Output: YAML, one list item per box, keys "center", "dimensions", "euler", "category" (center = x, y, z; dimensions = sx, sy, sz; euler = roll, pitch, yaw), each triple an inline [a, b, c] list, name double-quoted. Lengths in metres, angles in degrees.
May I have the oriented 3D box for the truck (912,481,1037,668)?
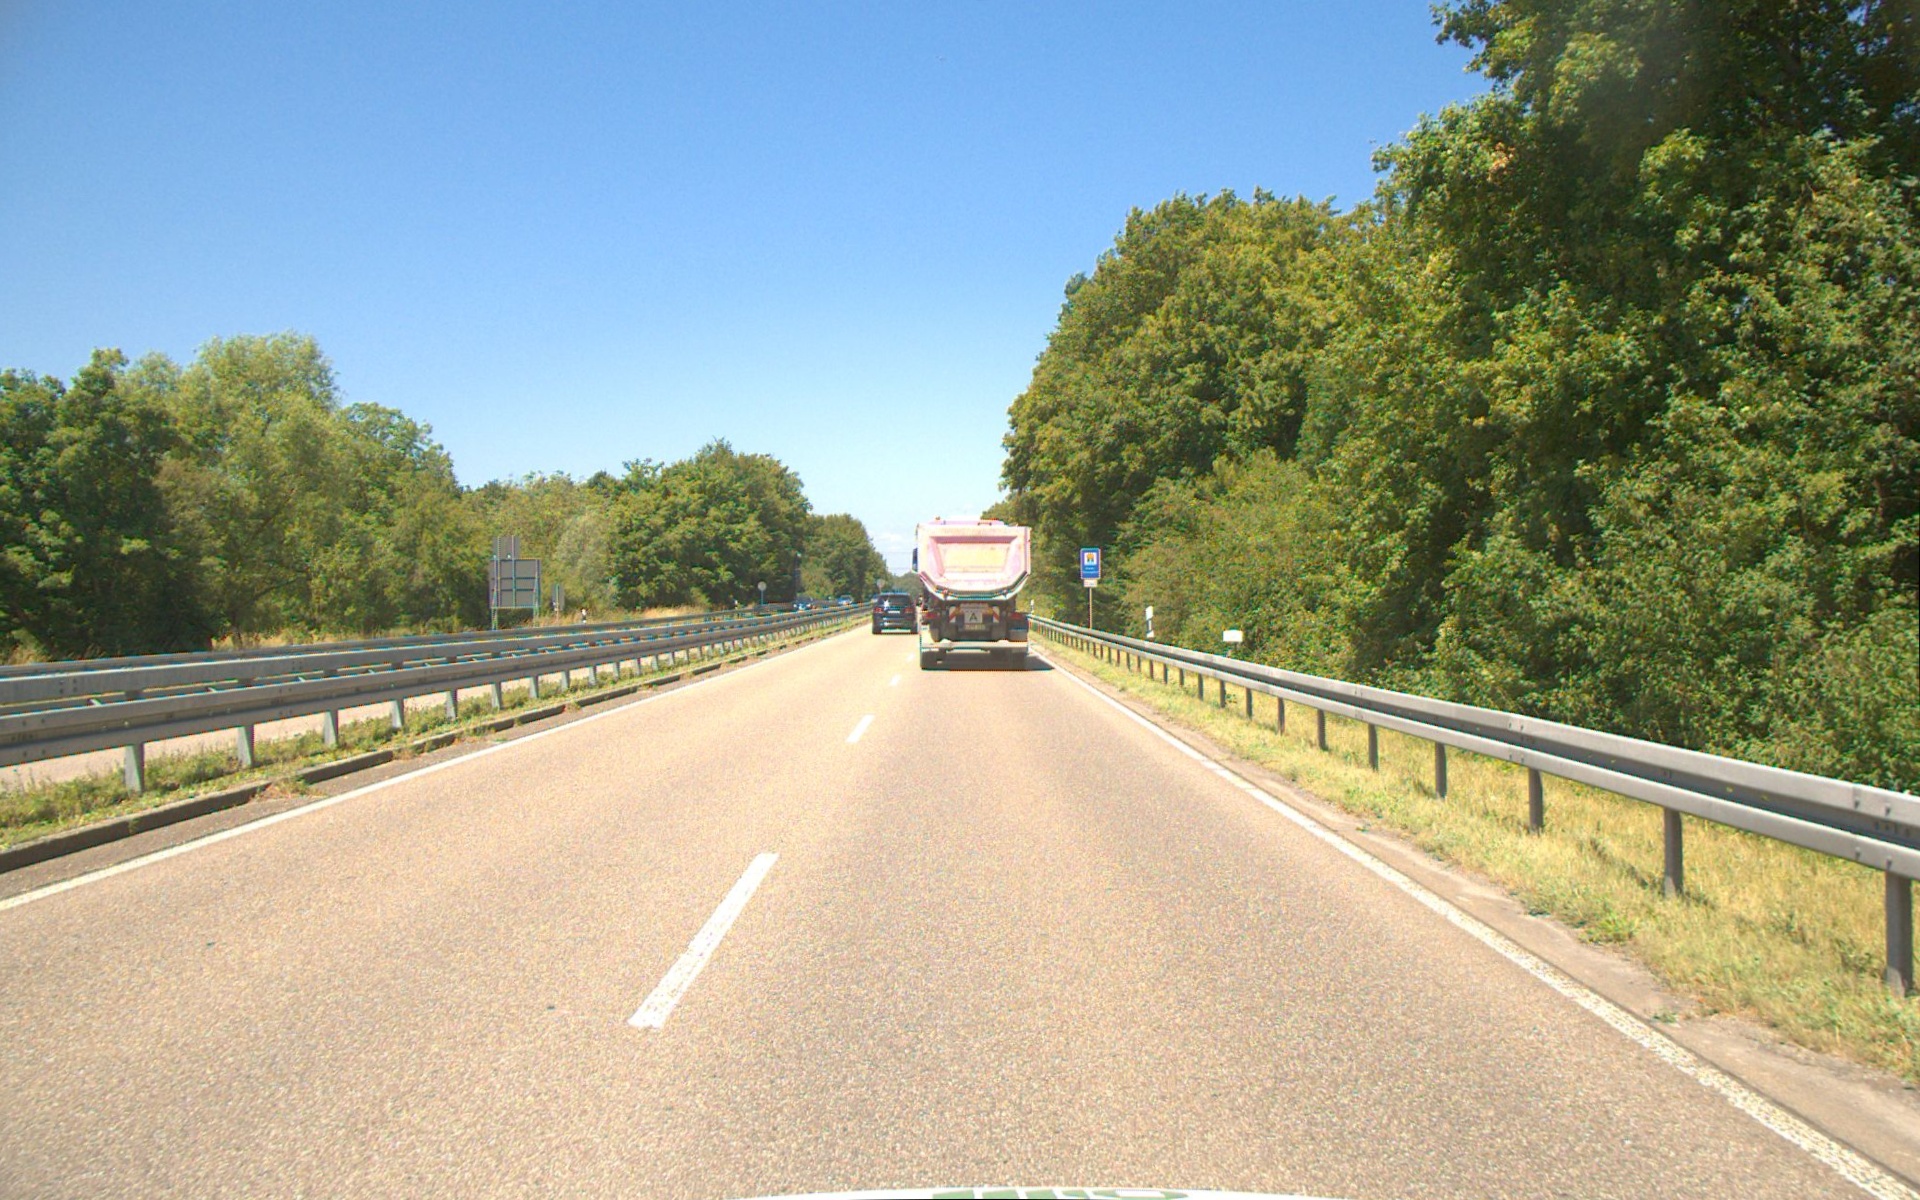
- center: [0.197, -0.570, 41.692]
  dimensions: [2.665, 3.999, 12.367]
  euler: [0, 0, -1]
  category: "truck"

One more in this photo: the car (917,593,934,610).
- center: [-3.847, 0.178, 183.959]
  dimensions: [1.820, 1.748, 3.998]
  euler: [0, -1, -1]
  category: "car"

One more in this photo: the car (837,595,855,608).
- center: [-13.952, 0.182, 202.510]
  dimensions: [1.775, 1.570, 4.928]
  euler: [-2, 0, 0]
  category: "car"

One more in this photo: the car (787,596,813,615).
- center: [-14.387, 0.484, 149.245]
  dimensions: [1.743, 1.648, 4.506]
  euler: [-3, 0, 1]
  category: "car"

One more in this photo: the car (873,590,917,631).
- center: [-2.792, 0.463, 71.668]
  dimensions: [1.820, 1.701, 3.998]
  euler: [0, -1, -1]
  category: "car"
